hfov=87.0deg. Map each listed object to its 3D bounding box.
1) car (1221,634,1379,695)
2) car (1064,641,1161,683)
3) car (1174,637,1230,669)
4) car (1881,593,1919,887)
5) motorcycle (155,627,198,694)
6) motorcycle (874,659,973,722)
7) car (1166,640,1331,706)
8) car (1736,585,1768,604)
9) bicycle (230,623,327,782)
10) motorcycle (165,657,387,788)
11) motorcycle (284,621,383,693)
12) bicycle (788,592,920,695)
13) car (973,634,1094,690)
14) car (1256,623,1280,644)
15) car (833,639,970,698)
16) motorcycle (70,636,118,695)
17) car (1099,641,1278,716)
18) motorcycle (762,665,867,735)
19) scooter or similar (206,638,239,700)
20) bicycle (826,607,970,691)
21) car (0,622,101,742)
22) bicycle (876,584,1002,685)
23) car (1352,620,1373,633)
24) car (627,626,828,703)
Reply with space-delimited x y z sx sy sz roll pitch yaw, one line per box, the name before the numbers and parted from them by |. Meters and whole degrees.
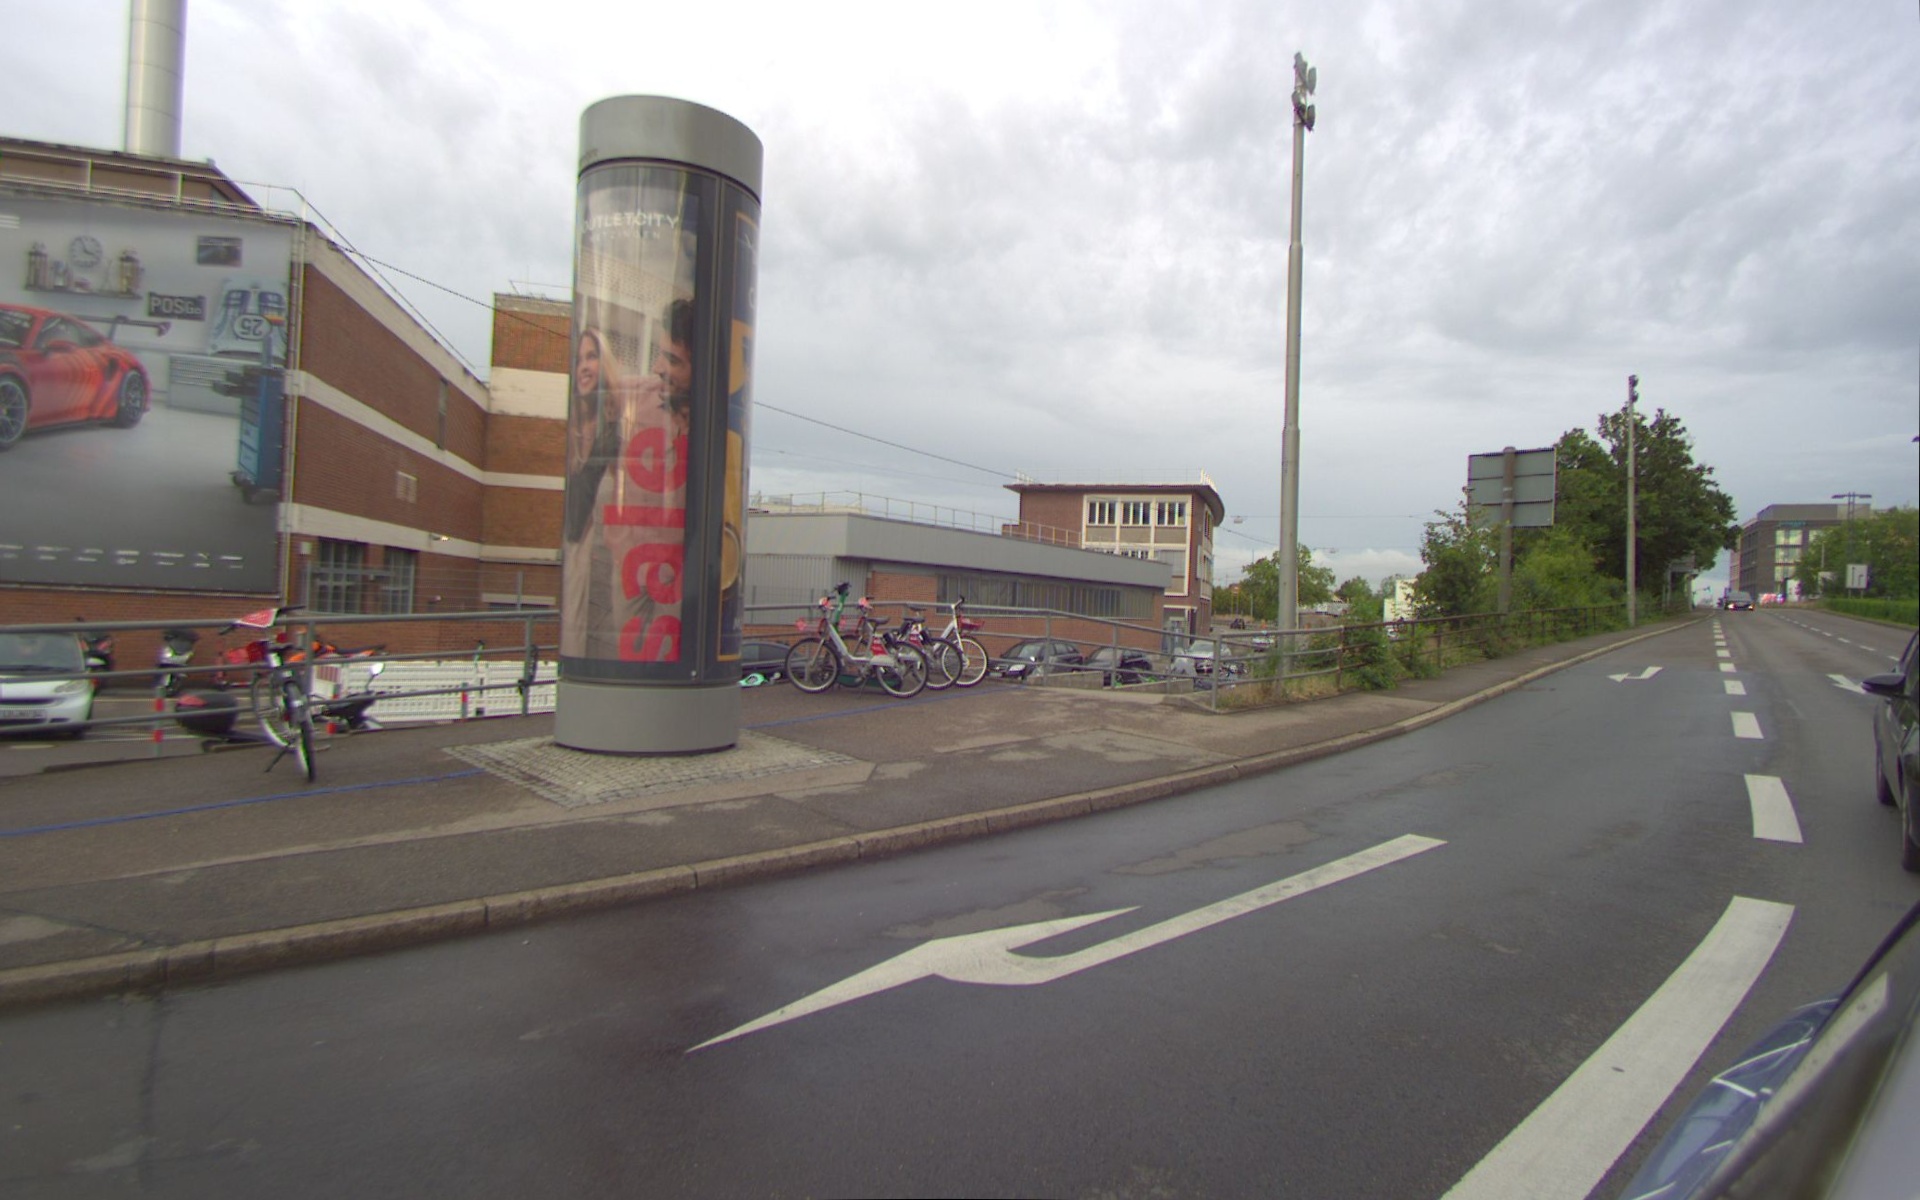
car | 9.532 1.756 28.621 1.688 1.444 3.999 2 -1 -36
car | 5.937 2.341 39.016 1.713 1.422 4.211 1 -1 41
car | 12.124 2.611 50.599 1.719 1.406 3.957 1 -1 30
car | 6.783 0.733 6.079 1.687 1.526 3.953 0 1 40
motorcycle | -15.222 1.148 19.684 0.574 1.166 1.720 -1 0 -35
motorcycle | -0.603 1.463 16.497 1.599 0.933 0.418 0 0 25
car | 7.562 1.866 26.837 1.688 1.444 3.999 2 -1 -36
car | 61.641 -0.440 78.770 1.738 1.493 4.018 0 0 35
bicycle | -4.826 0.665 7.130 0.414 0.933 1.615 1 0 -39
motorcycle | -5.742 0.989 8.576 0.400 0.901 1.521 1 1 36
motorcycle | -12.847 1.144 20.792 0.521 1.350 1.646 -1 0 38
bicycle | -1.215 0.483 11.660 1.438 1.087 0.442 2 2 9
car | 2.551 2.045 34.294 1.777 1.688 4.438 1 -1 41
car | 23.315 2.530 76.561 1.698 1.444 3.976 1 0 18
car | -1.592 1.894 28.908 1.712 1.444 3.943 1 -1 39
motorcycle | -16.185 1.205 18.931 0.531 0.985 1.616 -1 0 -35
car | 5.294 1.786 23.910 1.688 1.444 3.999 2 -1 -36
motorcycle | -2.190 1.483 15.171 1.600 0.933 0.417 0 0 27
scooter or similar | -14.632 1.345 20.089 0.495 1.110 1.639 -1 0 -35
bicycle | -0.730 0.577 12.130 1.673 0.933 0.486 1 1 4
car | -13.995 1.132 15.182 1.541 1.508 3.992 2 -1 -42
bicycle | -0.275 0.417 12.850 1.527 1.169 0.448 3 3 22
car | 44.992 2.946 113.187 1.695 1.444 3.982 1 0 14
car | -5.369 1.439 23.877 1.880 1.570 4.445 1 -1 38
